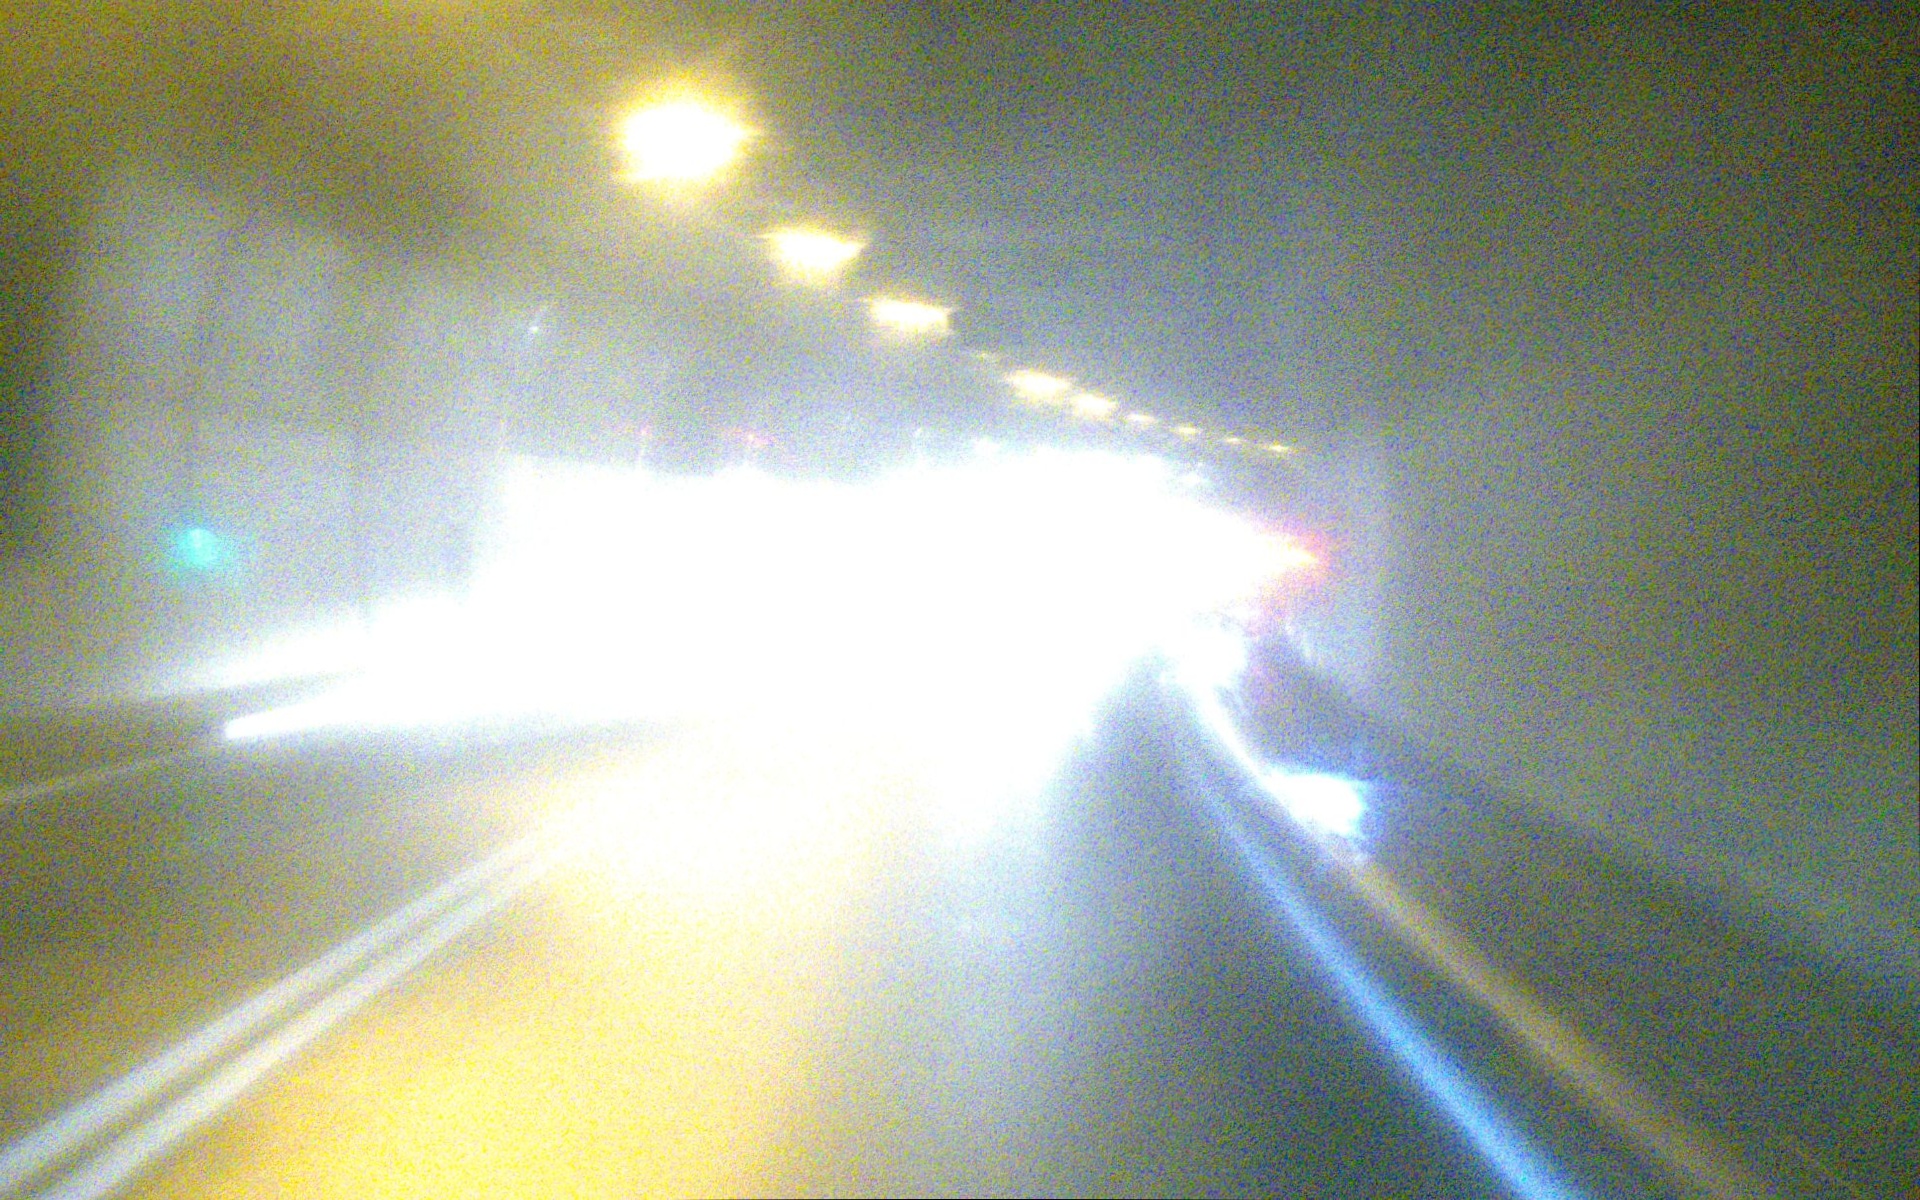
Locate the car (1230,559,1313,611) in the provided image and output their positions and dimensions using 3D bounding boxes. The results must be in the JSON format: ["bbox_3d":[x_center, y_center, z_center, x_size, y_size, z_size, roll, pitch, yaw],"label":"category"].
[{"bbox_3d":[10.171,-0.503,112.077,1.995,1.645,3.997,1,1,15],"label":"car"}]

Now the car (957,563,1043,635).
[{"bbox_3d":[0.918,-0.041,76.765,1.709,1.505,4.079,1,1,3],"label":"car"}]
